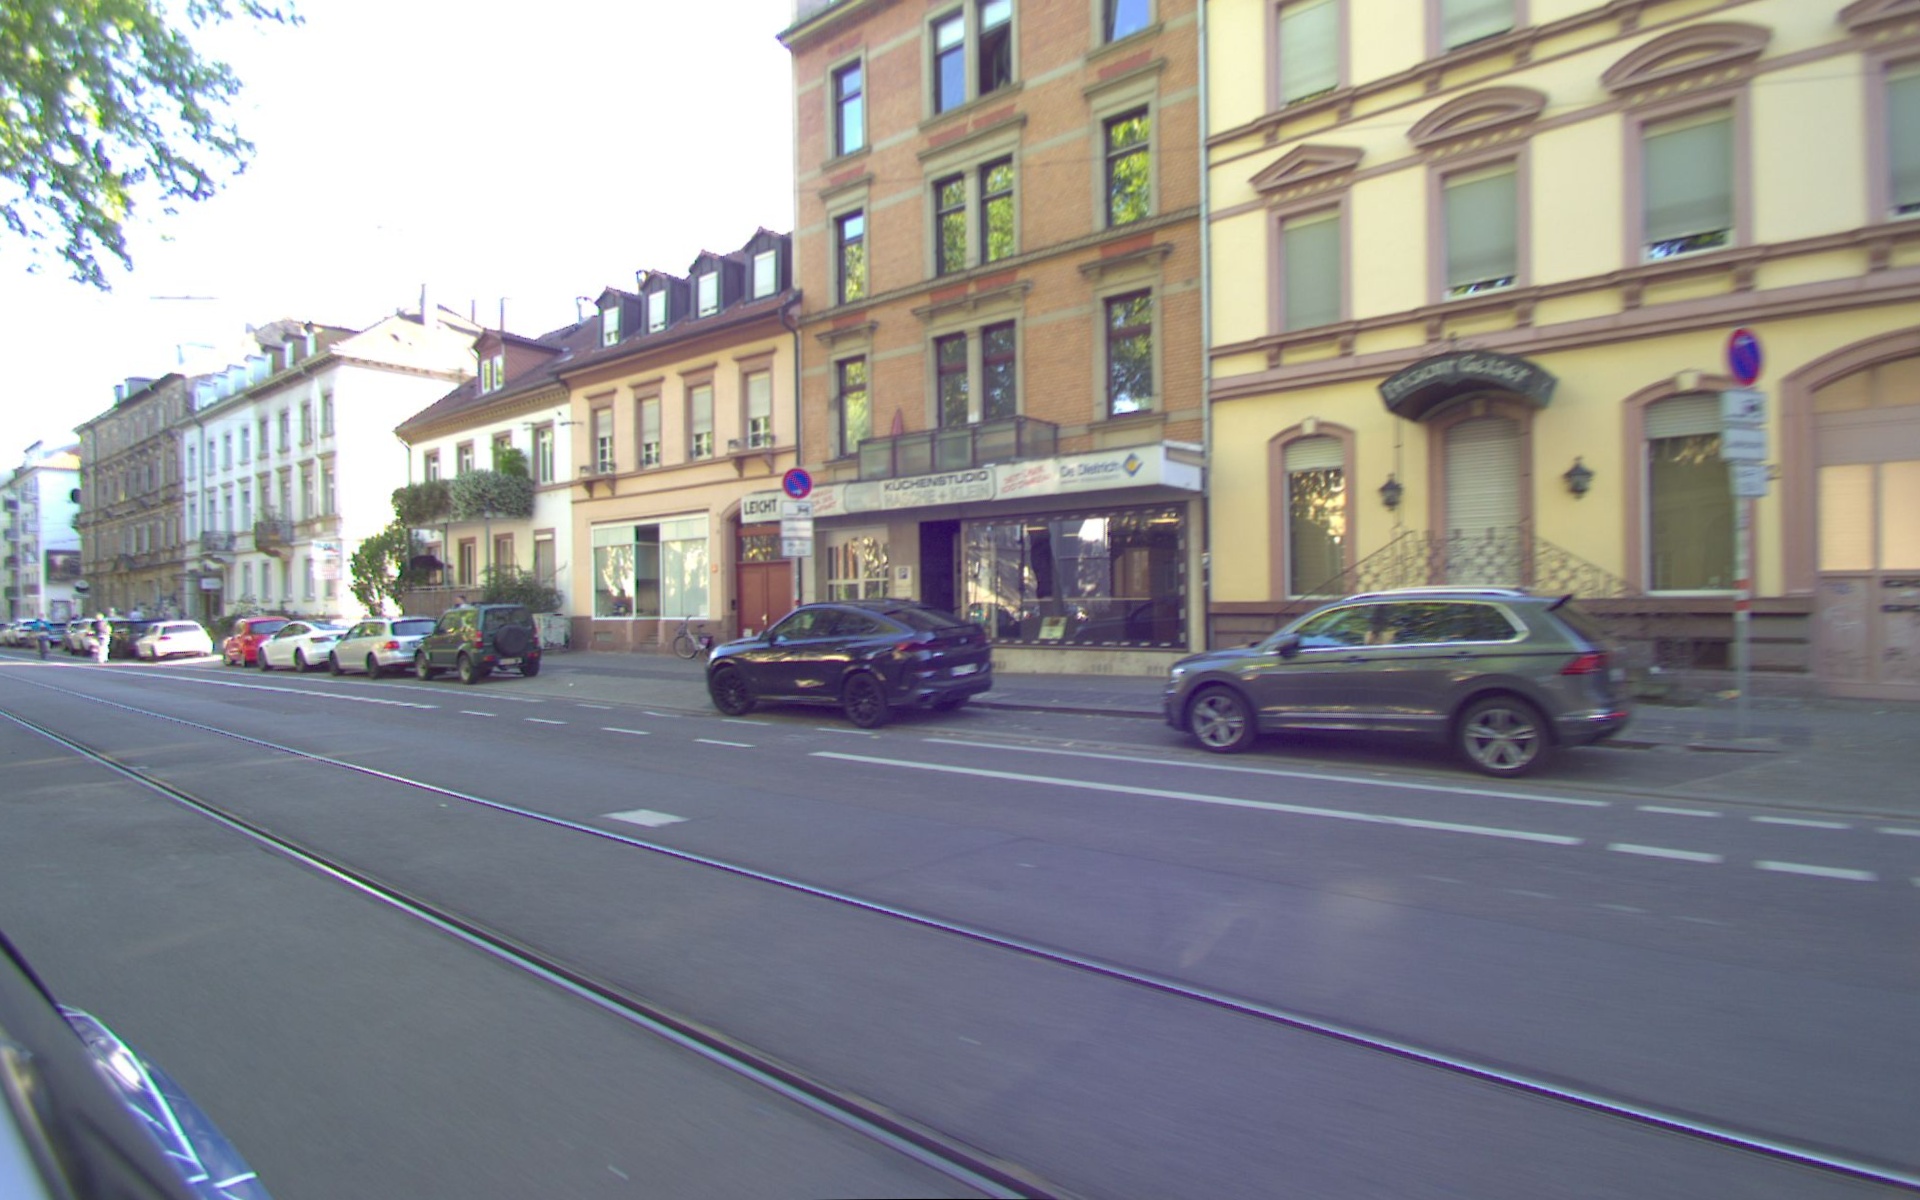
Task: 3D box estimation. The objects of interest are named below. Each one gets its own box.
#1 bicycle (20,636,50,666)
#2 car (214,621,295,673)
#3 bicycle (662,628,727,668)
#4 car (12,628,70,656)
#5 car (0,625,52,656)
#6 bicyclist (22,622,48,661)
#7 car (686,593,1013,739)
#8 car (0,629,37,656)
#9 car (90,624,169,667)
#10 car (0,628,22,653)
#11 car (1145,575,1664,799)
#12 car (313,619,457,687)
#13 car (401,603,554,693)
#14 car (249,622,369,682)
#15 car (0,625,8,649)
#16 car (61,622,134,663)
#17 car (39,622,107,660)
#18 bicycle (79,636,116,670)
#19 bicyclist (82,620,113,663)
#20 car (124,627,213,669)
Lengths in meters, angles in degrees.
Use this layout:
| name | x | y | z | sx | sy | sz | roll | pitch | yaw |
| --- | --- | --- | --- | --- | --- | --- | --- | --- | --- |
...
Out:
| name | x | y | z | sx | sy | sz | roll | pitch | yaw |
| --- | --- | --- | --- | --- | --- | --- | --- | --- | --- |
| bicycle | -36.826 | 2.006 | 40.289 | 2.120 | 1.146 | 0.705 | -2 | -1 | 42 |
| car | -22.661 | 1.470 | 32.465 | 3.325 | 1.522 | 1.403 | -2 | 1 | 43 |
| bicycle | -6.805 | 1.206 | 25.892 | 2.119 | 0.976 | 0.498 | -2 | -1 | 41 |
| car | -50.212 | 2.284 | 55.285 | 4.080 | 1.386 | 1.776 | -2 | 1 | 40 |
| car | -54.268 | 2.325 | 58.695 | 4.080 | 1.639 | 1.776 | -2 | 1 | 40 |
| bicyclist | -36.887 | 1.631 | 40.348 | 0.954 | 1.529 | 0.705 | -2 | -1 | 43 |
| car | -1.743 | 0.878 | 14.918 | 4.745 | 1.715 | 1.974 | -2 | 2 | 39 |
| car | -58.595 | 2.614 | 62.542 | 4.080 | 1.493 | 1.776 | -2 | 1 | 40 |
| car | -34.621 | 1.870 | 42.136 | 4.080 | 1.608 | 1.776 | -2 | 1 | 40 |
| car | -62.507 | 2.640 | 65.734 | 3.915 | 1.555 | 1.786 | -2 | 1 | 40 |
| car | 4.309 | 0.728 | 10.206 | 4.438 | 1.718 | 1.793 | -2 | 2 | 39 |
| car | -14.544 | 1.294 | 25.484 | 4.400 | 1.465 | 1.647 | -2 | 2 | 40 |
| car | -10.910 | 1.031 | 22.795 | 3.623 | 1.759 | 1.707 | -2 | 2 | 41 |
| car | -18.619 | 1.441 | 28.870 | 4.466 | 1.502 | 1.567 | -2 | 1 | 40 |
| car | -66.541 | 2.564 | 69.080 | 3.915 | 1.555 | 1.786 | -2 | 1 | 40 |
| car | -38.764 | 1.872 | 45.464 | 4.251 | 1.652 | 1.776 | -2 | 1 | 40 |
| car | -43.461 | 1.985 | 49.555 | 4.572 | 1.652 | 1.776 | -2 | 1 | 40 |
| bicycle | -30.938 | 1.892 | 36.298 | 2.119 | 1.146 | 0.705 | -2 | -1 | 41 |
| bicyclist | -30.915 | 1.473 | 36.267 | 0.953 | 1.529 | 0.705 | -2 | -1 | 41 |
| car | -30.534 | 1.808 | 39.015 | 4.080 | 1.442 | 1.845 | -2 | 1 | 40 |
